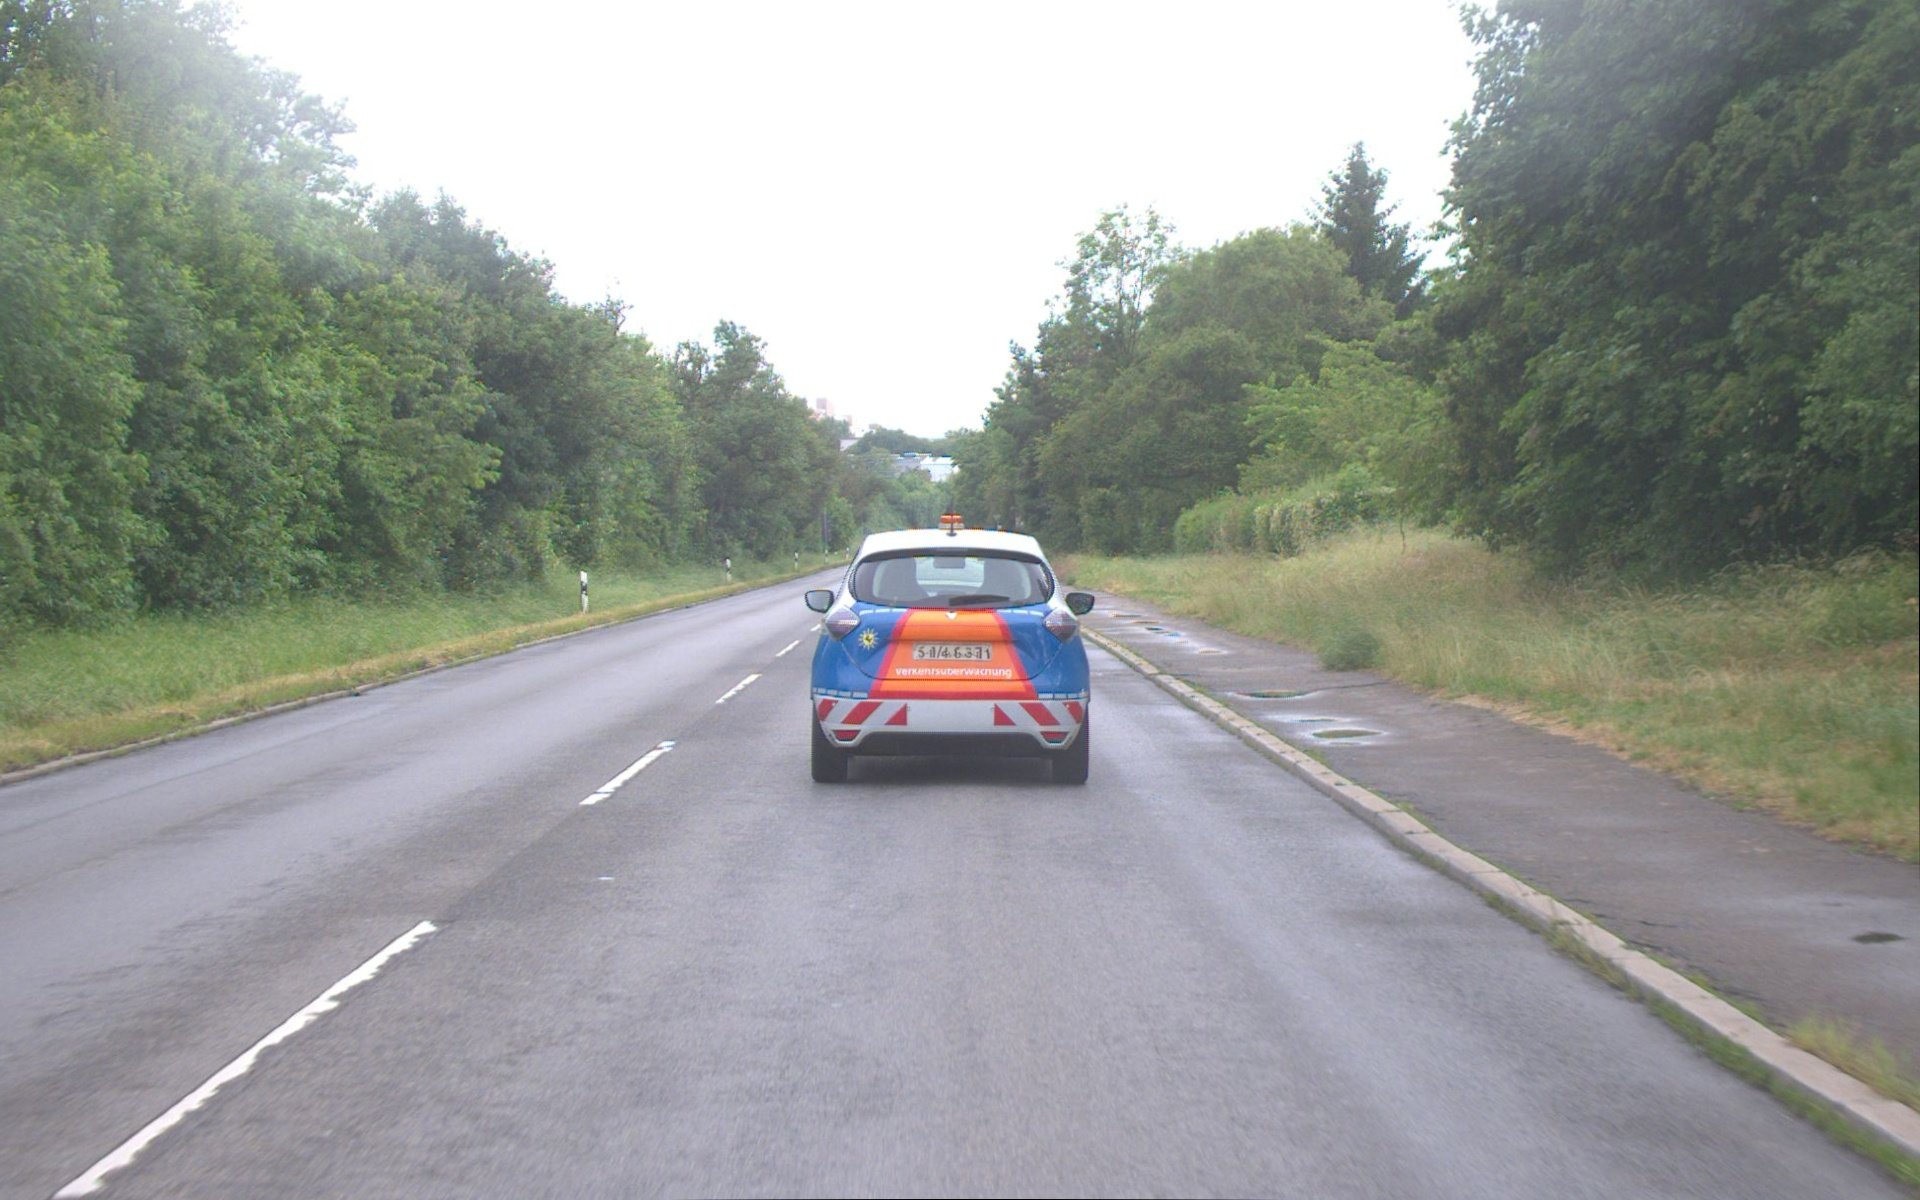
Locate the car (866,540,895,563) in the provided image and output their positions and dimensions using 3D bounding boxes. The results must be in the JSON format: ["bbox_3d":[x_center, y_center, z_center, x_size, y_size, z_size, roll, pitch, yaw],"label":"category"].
[{"bbox_3d":[-5.517,-3.346,238.008,1.905,1.551,4.516,-1,1,-1],"label":"car"}]

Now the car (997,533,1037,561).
[{"bbox_3d":[2.882,-2.697,174.769,1.993,1.371,4.000,-1,1,0],"label":"car"}]

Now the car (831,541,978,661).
[{"bbox_3d":[-0.604,-0.017,39.889,1.598,1.282,3.476,-1,1,0],"label":"car"}]

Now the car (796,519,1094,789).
[{"bbox_3d":[-0.106,0.275,22.218,1.752,1.550,3.793,0,2,-1],"label":"car"}]
